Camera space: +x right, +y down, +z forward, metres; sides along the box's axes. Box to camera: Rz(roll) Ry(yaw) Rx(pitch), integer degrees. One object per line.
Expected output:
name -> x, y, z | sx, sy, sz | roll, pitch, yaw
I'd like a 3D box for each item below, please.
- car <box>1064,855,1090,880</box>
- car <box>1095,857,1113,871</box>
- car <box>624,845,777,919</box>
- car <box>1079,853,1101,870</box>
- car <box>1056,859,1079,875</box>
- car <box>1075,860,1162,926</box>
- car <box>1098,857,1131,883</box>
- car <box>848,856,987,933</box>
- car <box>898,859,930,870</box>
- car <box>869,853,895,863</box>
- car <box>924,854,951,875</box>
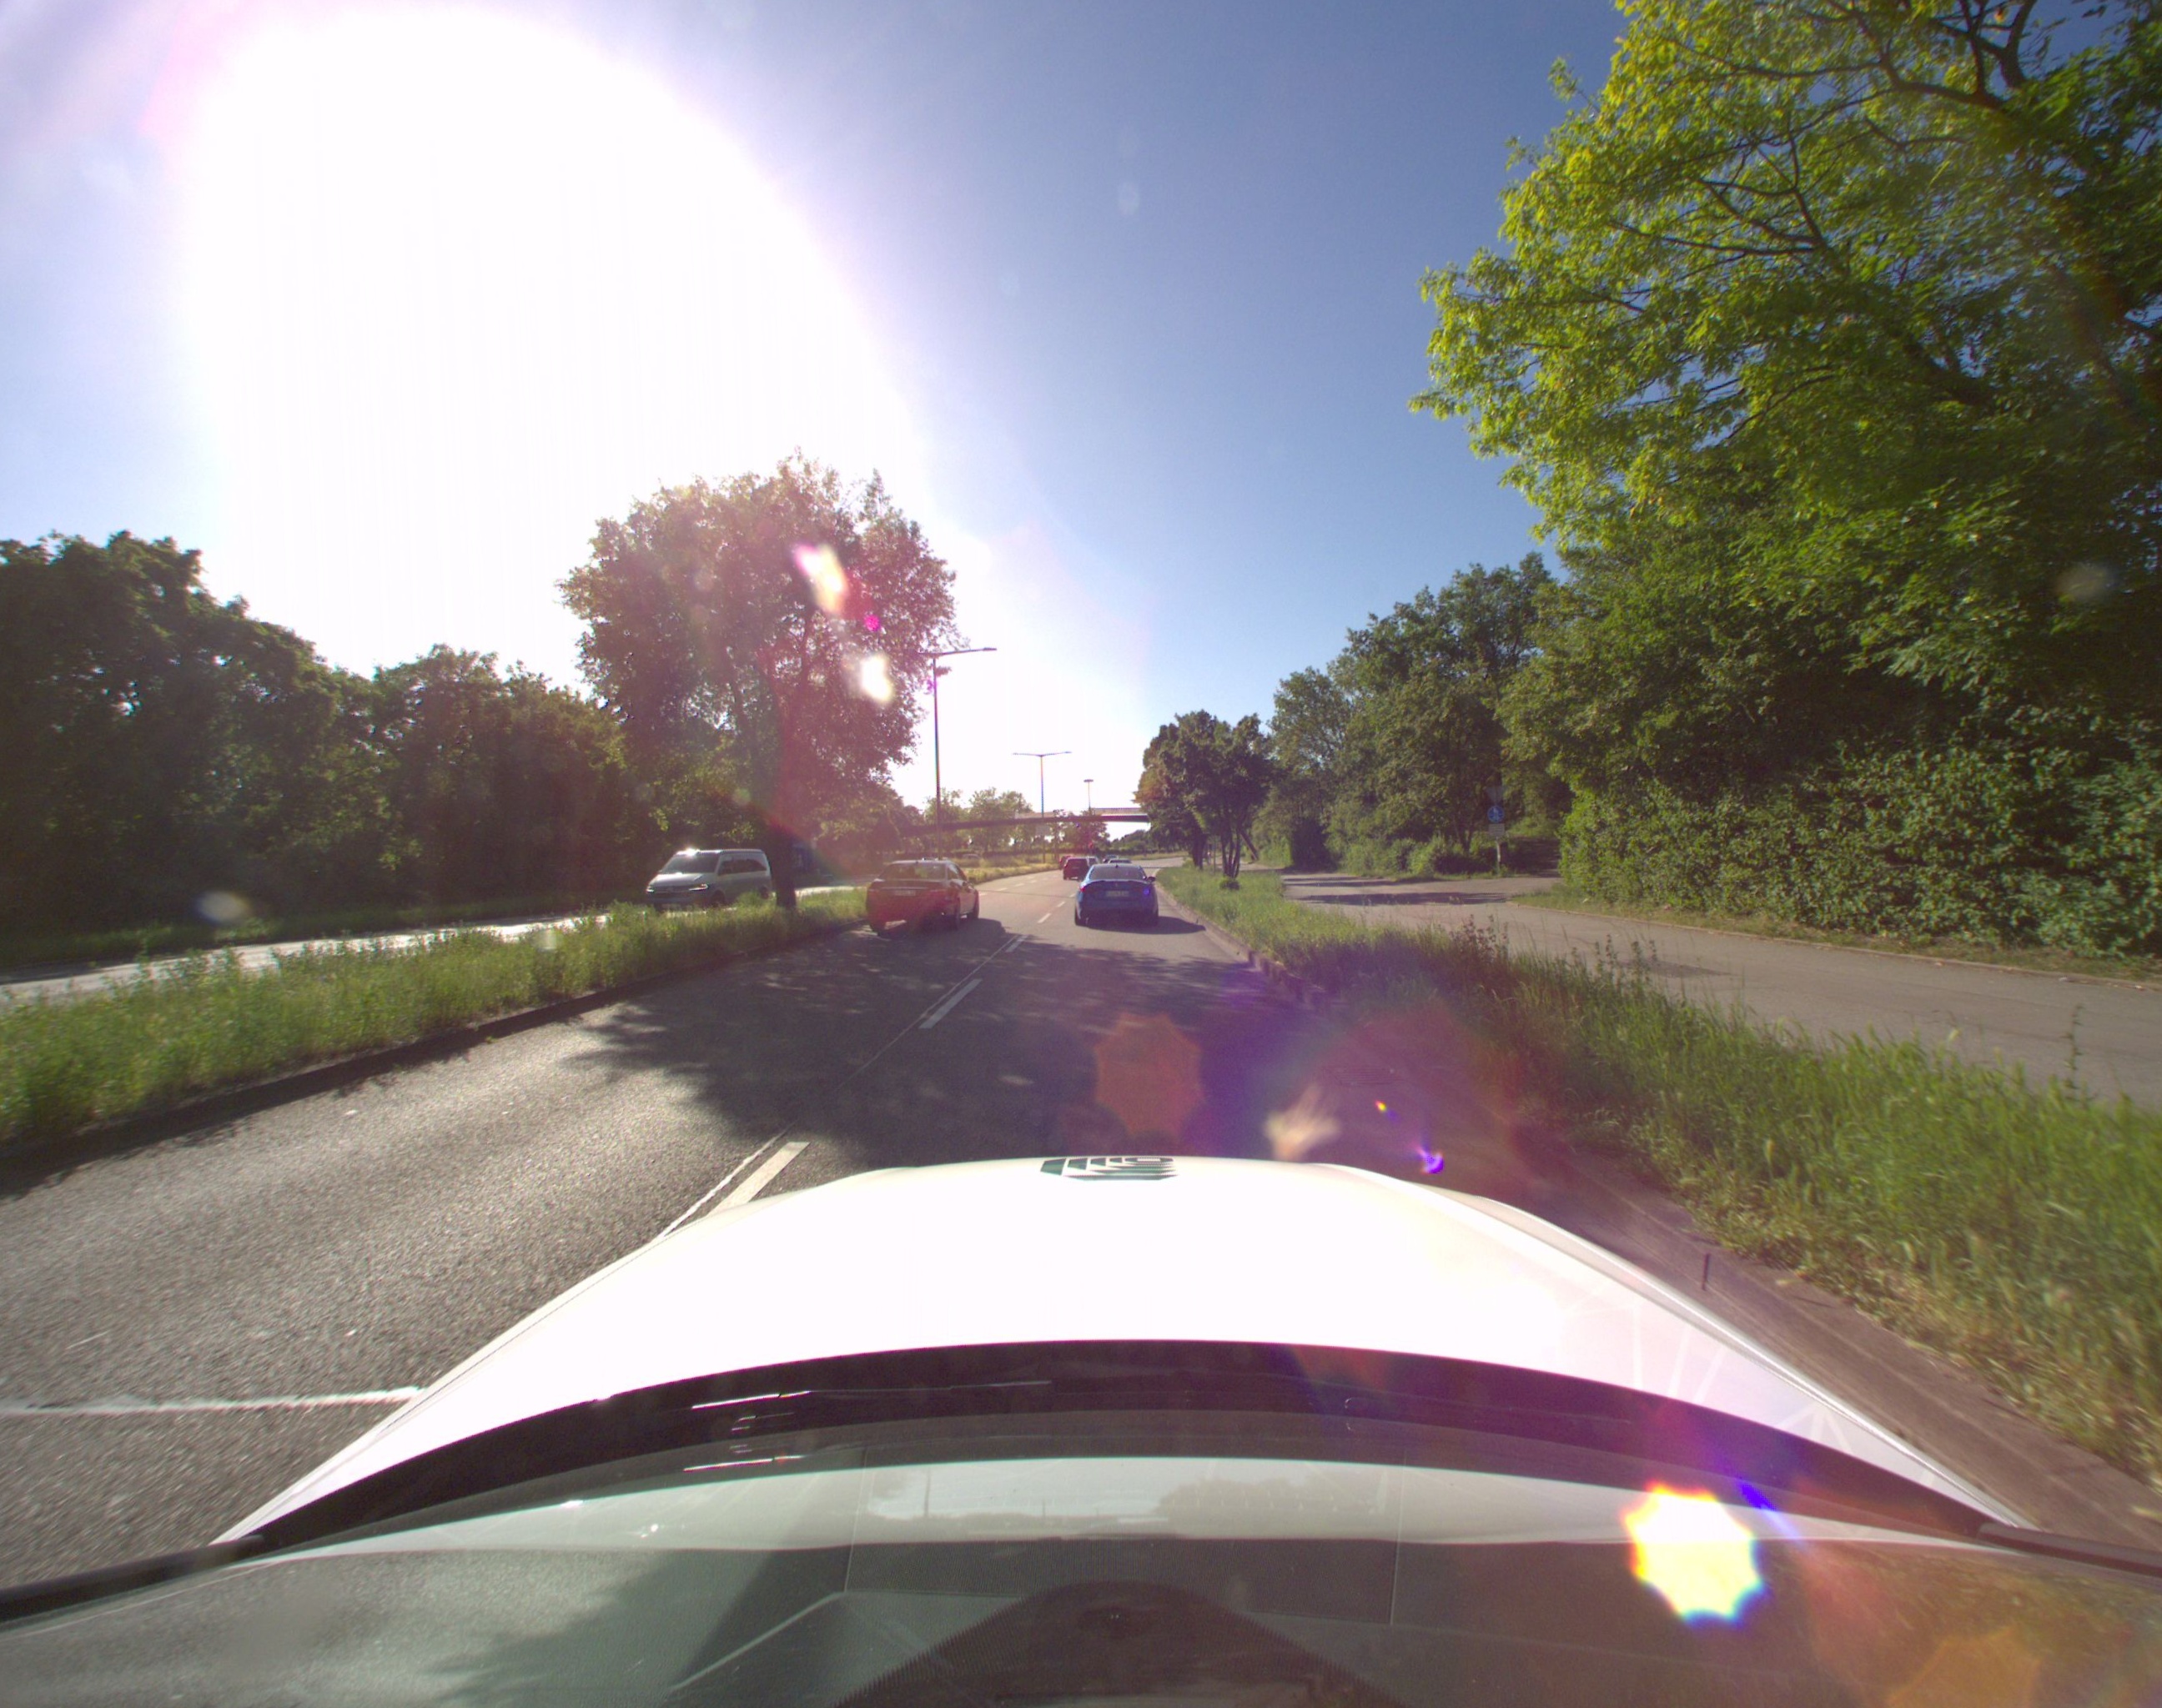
car -> -0.305, 0.923, 55.337 | 1.703, 1.598, 4.222 | 0, -1, -1
car -> 2.565, 1.092, 90.209 | 1.876, 1.454, 4.527 | 0, -1, 1
car -> -11.237, 0.779, 24.589 | 1.986, 1.929, 5.247 | -2, -1, 2
car -> 0.824, 0.706, 72.976 | 1.876, 1.454, 4.527 | 0, -1, 1
car -> -1.387, 1.340, 85.042 | 1.786, 1.556, 3.740 | 0, -1, 10
car -> 0.863, 0.860, 19.678 | 1.876, 1.406, 4.225 | 0, -1, 1
car -> 1.963, 0.920, 48.308 | 1.876, 1.454, 4.527 | 0, -1, 1
car -> -3.490, 0.806, 18.447 | 1.951, 1.483, 4.921 | -1, 0, 2
car -> -25.320, 1.553, 123.271 | 4.270, 1.650, 2.010 | -1, -1, 21
car -> -41.266, 0.785, 169.156 | 4.764, 2.014, 2.002 | 0, -1, 4
car -> -14.218, 1.044, 80.996 | 1.988, 2.014, 4.579 | 0, -1, -2
